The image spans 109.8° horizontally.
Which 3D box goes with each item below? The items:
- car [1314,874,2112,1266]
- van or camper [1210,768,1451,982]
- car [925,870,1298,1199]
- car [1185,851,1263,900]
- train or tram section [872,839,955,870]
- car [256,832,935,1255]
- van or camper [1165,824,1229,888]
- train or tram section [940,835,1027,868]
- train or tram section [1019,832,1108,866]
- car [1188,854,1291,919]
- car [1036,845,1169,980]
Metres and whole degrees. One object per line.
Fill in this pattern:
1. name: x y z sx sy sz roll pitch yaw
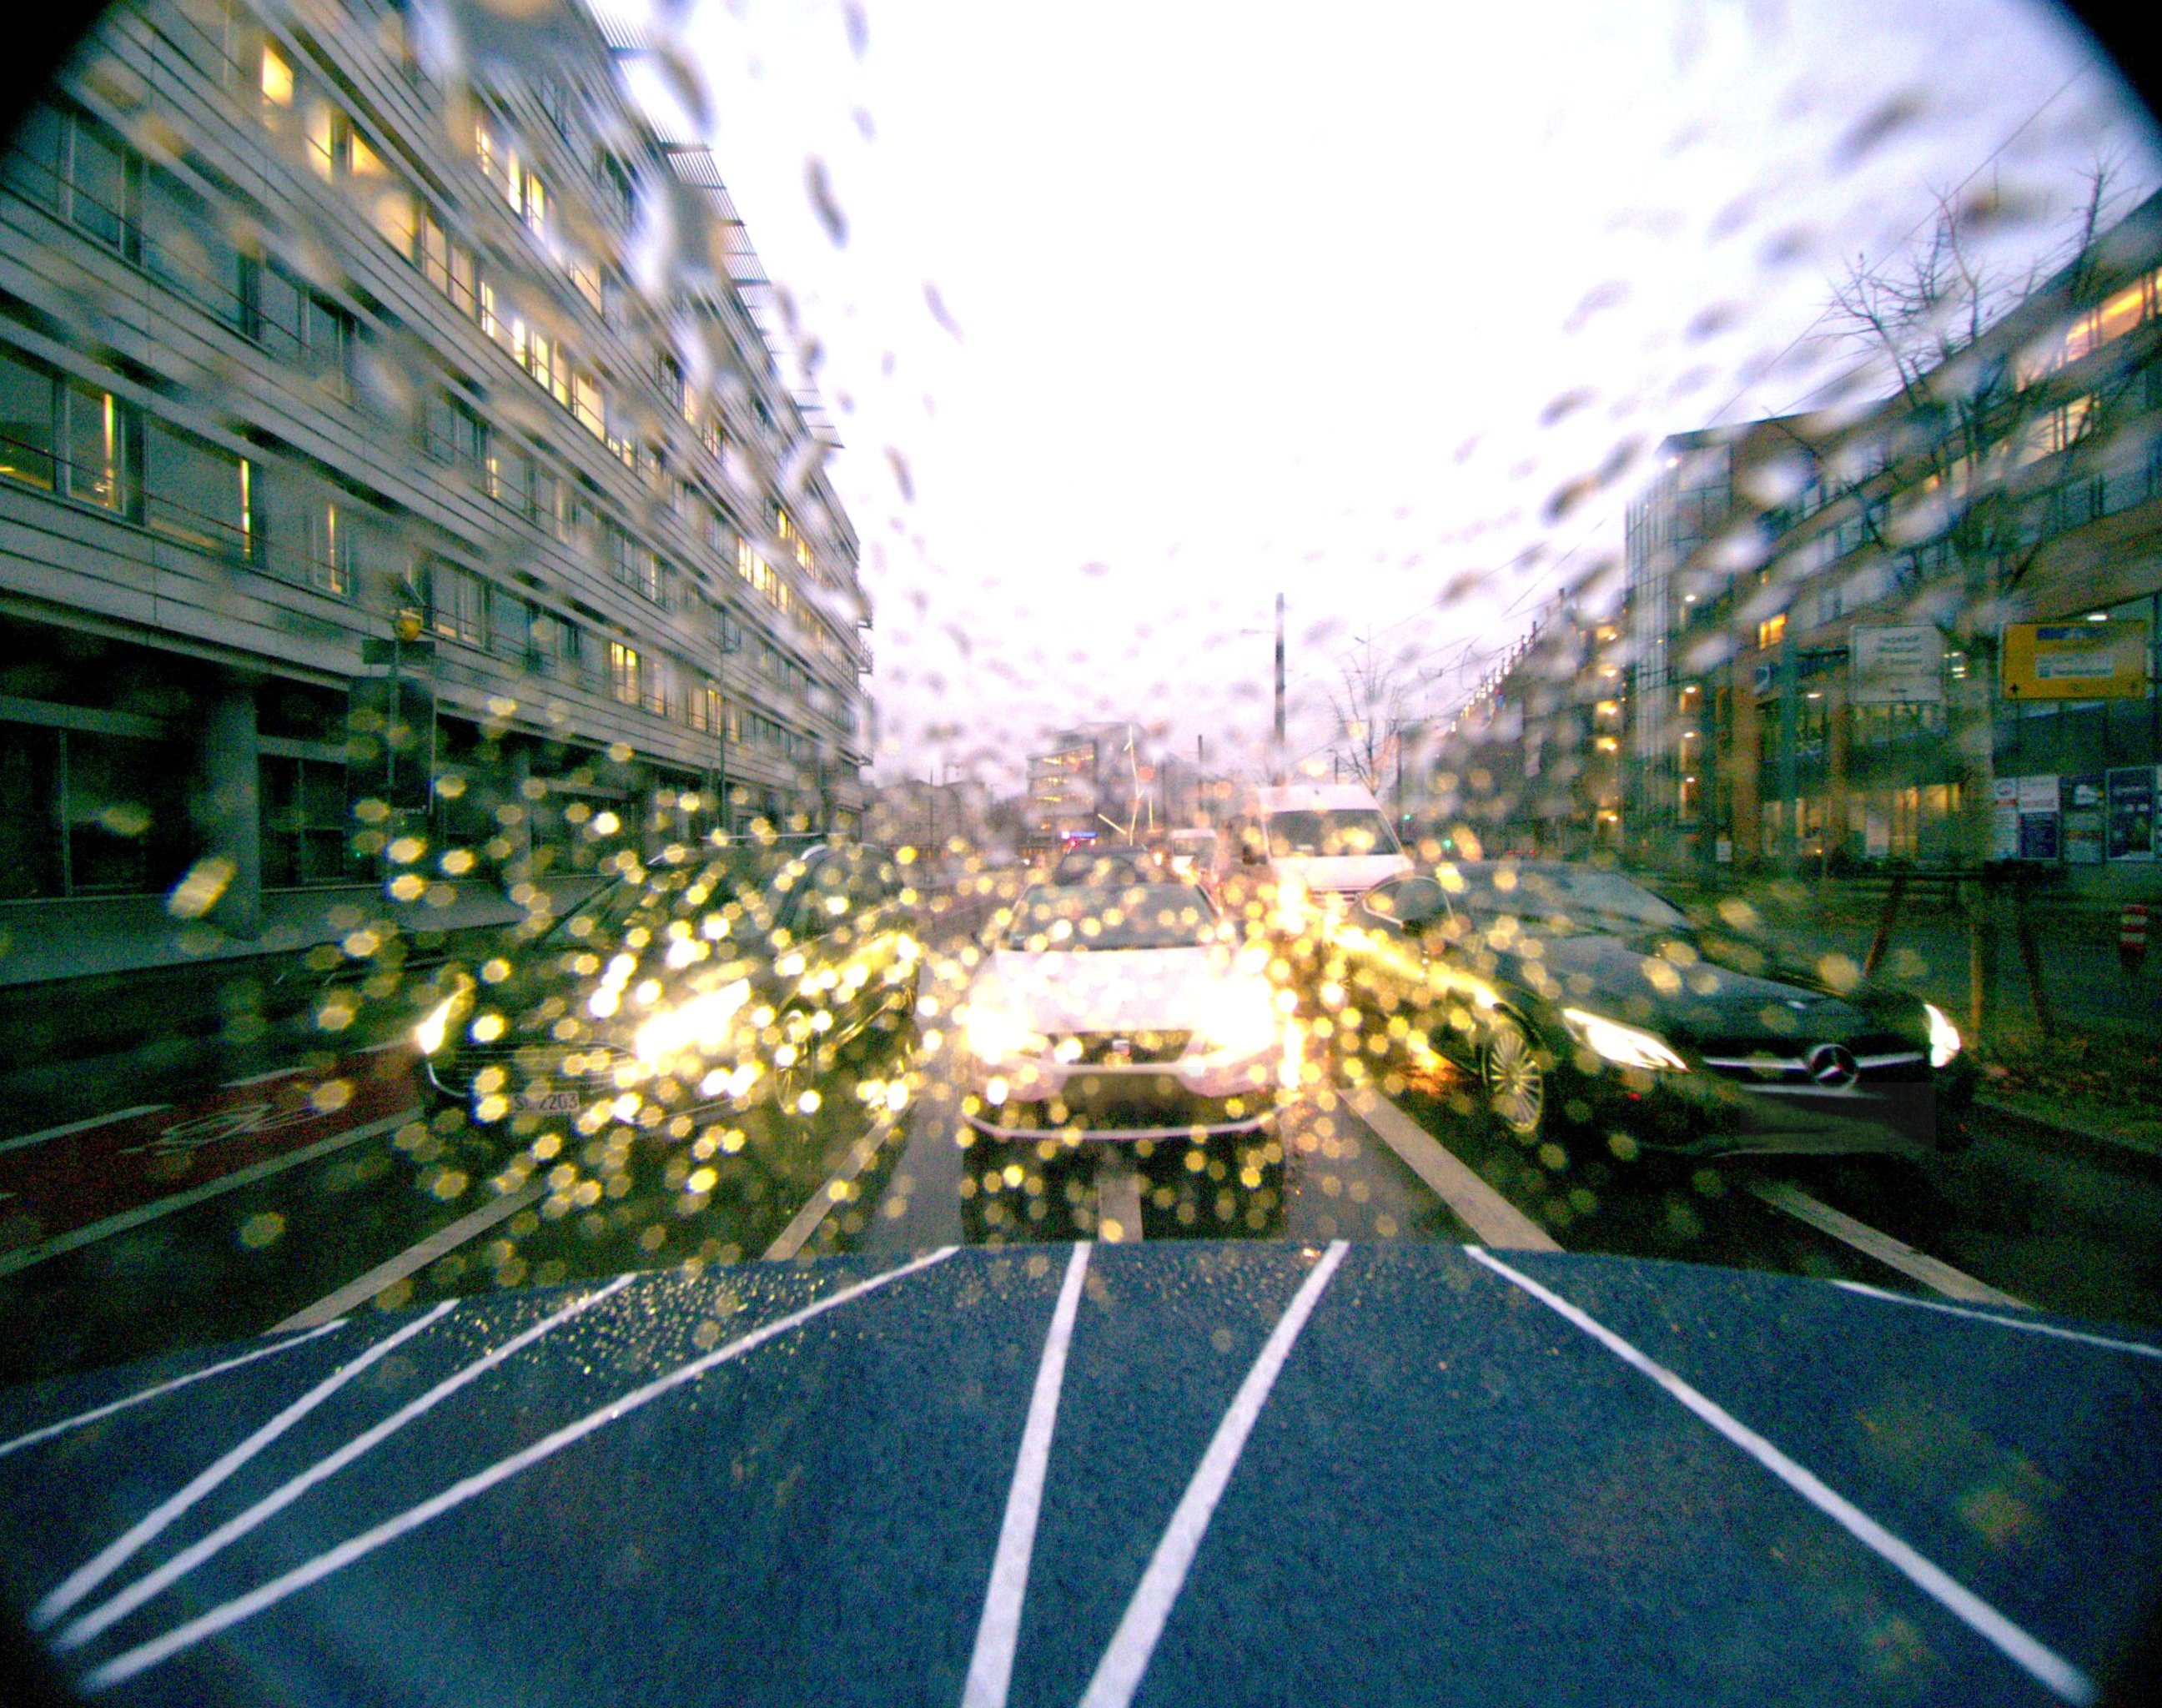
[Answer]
1. car: 3.068 0.892 5.028 1.824 1.324 4.225 -2 0 2
2. van or camper: 3.535 0.221 12.181 2.061 2.533 5.885 -2 1 2
3. car: 0.213 0.938 5.833 1.773 1.449 4.221 -2 0 2
4. car: 4.531 0.640 24.587 1.824 1.391 3.952 -2 0 2
5. train or tram section: -28.020 0.072 126.877 13.357 4.774 3.744 -2 1 19
6. car: -2.598 0.832 5.694 1.909 1.809 4.689 -2 0 1
7. van or camper: 4.642 0.055 31.172 2.184 2.339 5.651 -2 0 5
8. train or tram section: -15.752 -0.396 122.962 13.363 4.905 3.742 -2 1 12
9. train or tram section: -2.802 -0.815 119.581 13.359 4.832 3.743 -2 1 17
10. car: 3.852 0.732 19.110 1.824 1.391 3.952 -2 0 2
11. car: 0.341 0.765 11.908 1.684 1.723 3.714 -2 0 2
